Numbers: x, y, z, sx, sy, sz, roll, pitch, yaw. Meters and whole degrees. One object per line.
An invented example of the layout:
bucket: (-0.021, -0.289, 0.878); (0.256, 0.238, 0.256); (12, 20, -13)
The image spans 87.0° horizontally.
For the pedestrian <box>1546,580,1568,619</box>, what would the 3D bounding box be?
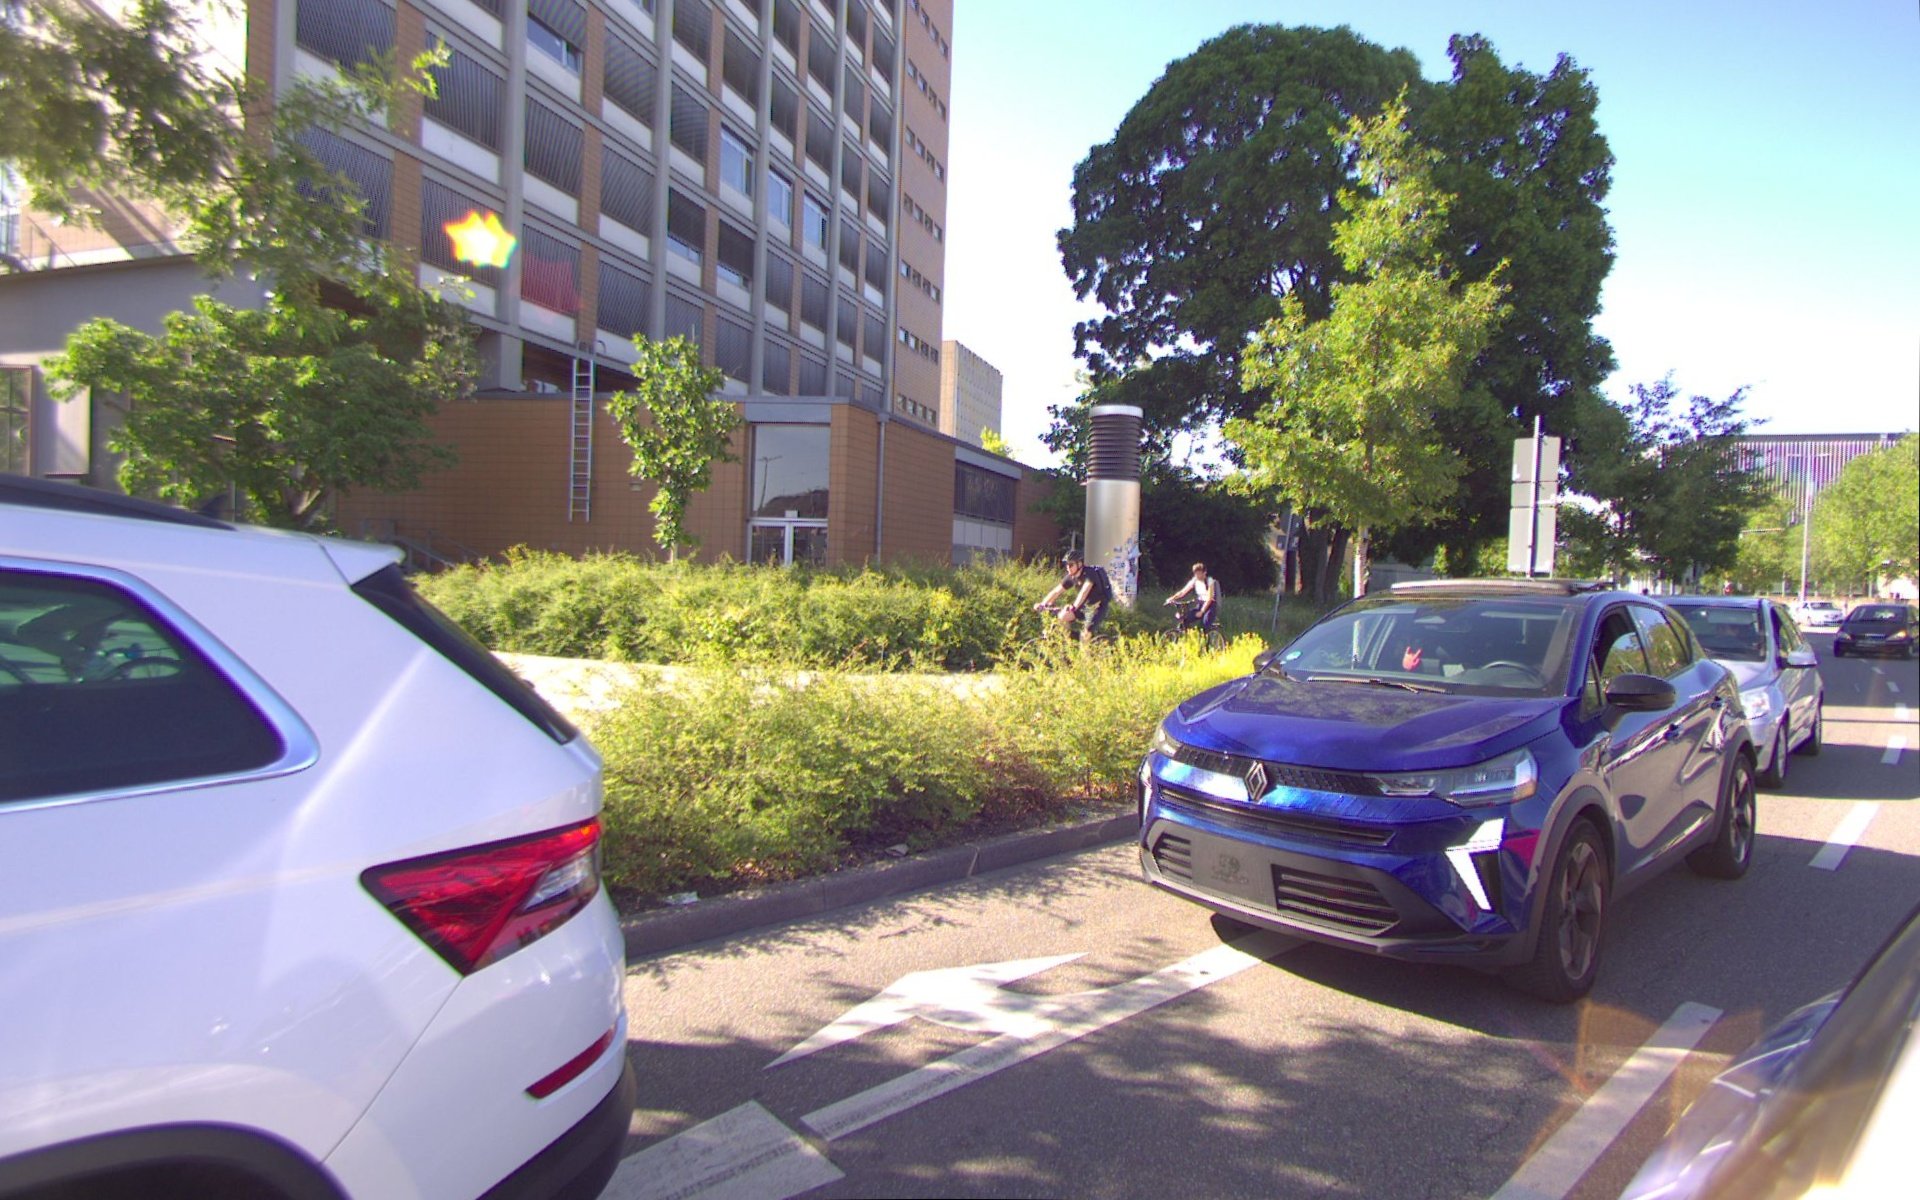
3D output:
pedestrian: (24.990, -0.024, 42.373); (0.685, 1.624, 0.656); (2, 1, 23)

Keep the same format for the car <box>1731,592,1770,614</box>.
car: (61.172, 0.207, 78.341); (1.578, 1.625, 3.048); (2, 1, 23)

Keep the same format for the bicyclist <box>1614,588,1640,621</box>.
bicyclist: (31.293, 0.203, 47.493); (0.837, 1.492, 0.760); (2, 1, 21)

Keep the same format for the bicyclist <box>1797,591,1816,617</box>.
bicyclist: (51.351, 0.256, 61.368); (0.688, 1.578, 0.809); (0, 0, 25)

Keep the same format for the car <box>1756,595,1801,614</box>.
car: (58.234, 0.315, 72.099); (1.569, 1.219, 3.966); (0, 1, 25)

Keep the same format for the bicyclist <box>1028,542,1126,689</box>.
bicyclist: (1.387, 0.165, 11.955); (0.978, 1.658, 0.626); (1, 1, -44)

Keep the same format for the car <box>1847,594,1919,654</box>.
car: (27.569, 0.675, 29.723); (3.426, 1.631, 1.651); (1, 1, -38)

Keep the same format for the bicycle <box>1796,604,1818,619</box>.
bicycle: (51.393, 0.694, 61.415); (0.584, 0.900, 1.640); (0, 0, 25)

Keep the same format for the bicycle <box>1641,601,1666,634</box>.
bicycle: (28.424, 0.691, 41.508); (0.687, 1.232, 1.814); (4, 3, 32)

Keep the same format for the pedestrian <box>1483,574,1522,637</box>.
pedestrian: (12.762, 0.120, 23.806); (0.516, 1.419, 0.947); (5, 3, 42)

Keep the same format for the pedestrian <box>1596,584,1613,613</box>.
pedestrian: (43.478, -0.081, 68.253); (0.811, 1.941, 0.767); (0, 0, 20)

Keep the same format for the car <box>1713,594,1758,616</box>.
car: (51.655, 0.310, 67.485); (1.736, 1.396, 3.540); (1, 1, 28)

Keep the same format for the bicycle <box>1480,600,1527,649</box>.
bicycle: (12.844, 0.557, 23.894); (0.516, 1.057, 1.741); (5, 3, 42)

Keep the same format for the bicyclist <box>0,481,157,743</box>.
bicyclist: (-5.793, 0.064, 6.527); (0.930, 1.588, 0.573); (1, 2, -40)

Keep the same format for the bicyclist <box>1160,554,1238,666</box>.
bicyclist: (3.593, 0.135, 15.224); (0.960, 1.618, 0.686); (1, 1, -43)

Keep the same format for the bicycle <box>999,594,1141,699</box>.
bicycle: (1.324, 0.513, 11.910); (1.820, 1.127, 0.626); (0, 1, -44)

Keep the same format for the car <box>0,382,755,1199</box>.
car: (-2.485, 0.567, 0.923); (4.223, 1.662, 1.697); (0, 1, -42)

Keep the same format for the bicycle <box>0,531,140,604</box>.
bicycle: (-18.443, -0.638, 20.246); (0.790, 1.394, 3.111); (2, 1, 26)

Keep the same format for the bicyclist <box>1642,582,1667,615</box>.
bicyclist: (28.448, -0.069, 41.455); (0.717, 1.294, 0.897); (4, 3, 32)

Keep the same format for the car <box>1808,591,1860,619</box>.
car: (54.874, 0.297, 63.594); (1.509, 1.701, 3.353); (1, 0, 24)

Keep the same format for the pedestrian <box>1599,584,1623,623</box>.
pedestrian: (27.203, 0.144, 42.311); (0.685, 1.624, 0.657); (2, 1, 22)

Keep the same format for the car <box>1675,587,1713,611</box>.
car: (66.260, -0.117, 91.439); (1.767, 2.039, 4.201); (1, 1, 22)

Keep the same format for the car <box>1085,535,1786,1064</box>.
car: (2.619, 0.605, 5.083); (4.012, 1.626, 1.704); (1, 1, -41)

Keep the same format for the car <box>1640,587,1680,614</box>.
car: (50.494, 0.019, 73.048); (1.811, 1.876, 3.717); (2, 1, 27)

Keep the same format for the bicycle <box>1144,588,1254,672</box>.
bicycle: (3.623, 0.433, 15.266); (1.851, 1.178, 0.686); (1, 1, -43)

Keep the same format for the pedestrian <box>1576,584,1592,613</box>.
pedestrian: (42.563, -0.087, 69.039); (0.811, 1.941, 0.767); (0, 0, 20)

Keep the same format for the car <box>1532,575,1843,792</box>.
car: (7.163, 0.629, 9.801); (3.977, 1.645, 1.782); (0, 1, -45)

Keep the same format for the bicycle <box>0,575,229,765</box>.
bicycle: (-5.804, 0.423, 6.533); (1.709, 1.139, 0.573); (1, 2, -40)

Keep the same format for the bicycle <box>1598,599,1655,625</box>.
bicycle: (31.273, 0.559, 47.506); (2.099, 1.189, 0.760); (1, 1, 21)

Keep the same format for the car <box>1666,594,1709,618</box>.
car: (47.835, 0.382, 66.597); (1.735, 1.494, 3.542); (0, 0, 26)
